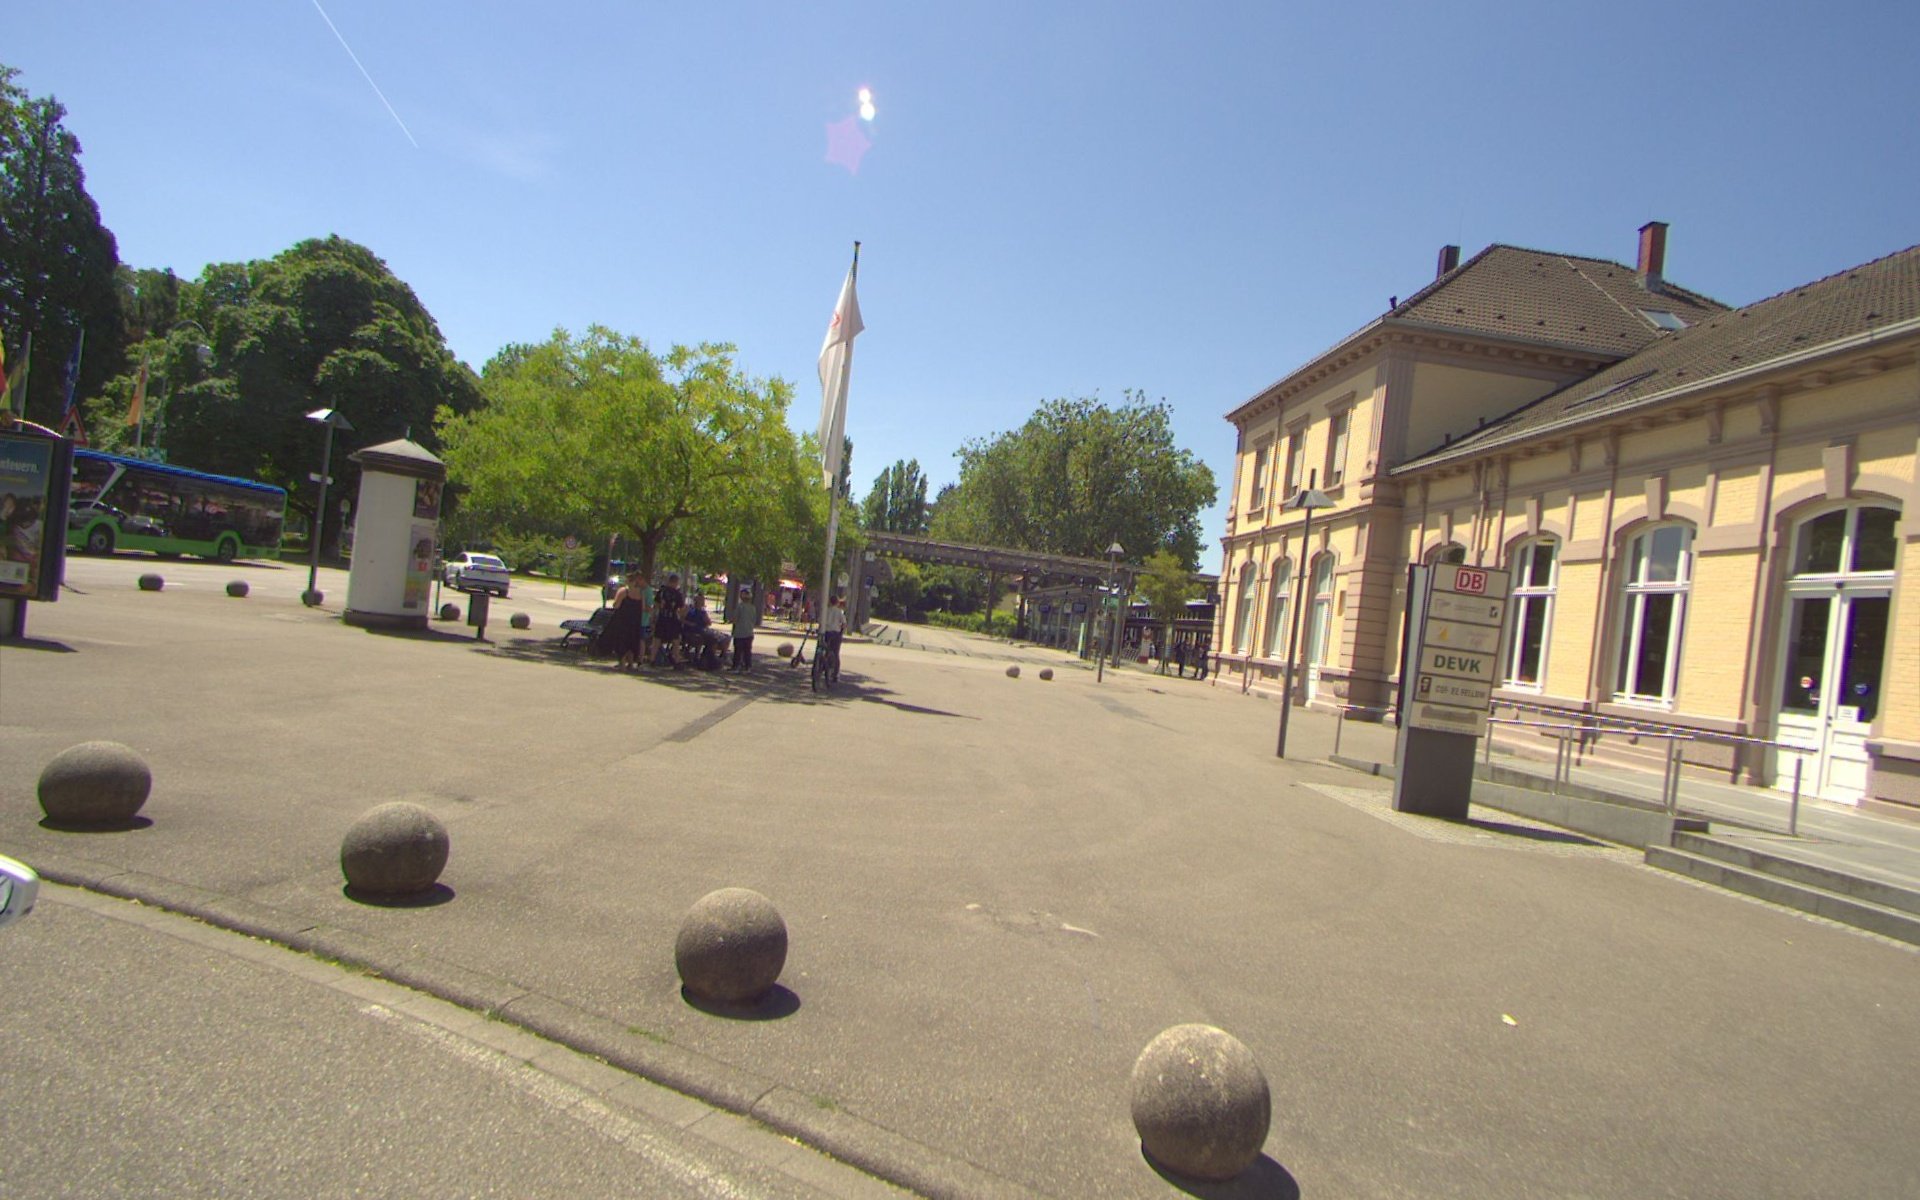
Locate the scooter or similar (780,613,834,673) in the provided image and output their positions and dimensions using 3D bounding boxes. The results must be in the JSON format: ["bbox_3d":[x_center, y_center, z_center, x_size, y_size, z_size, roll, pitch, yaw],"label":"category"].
[{"bbox_3d":[-3.288,0.919,21.593,1.011,1.153,0.294,7,0,-11],"label":"scooter or similar"}]

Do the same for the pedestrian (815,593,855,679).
[{"bbox_3d":[-2.603,0.747,20.896,0.546,1.706,0.585,7,0,-15],"label":"pedestrian"}]

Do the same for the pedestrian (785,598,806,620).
[{"bbox_3d":[-9.633,0.521,58.872,0.887,1.175,0.681,7,0,-38],"label":"pedestrian"}]

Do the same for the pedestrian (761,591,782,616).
[{"bbox_3d":[-11.048,0.208,58.889,0.887,1.328,0.681,7,0,-38],"label":"pedestrian"}]

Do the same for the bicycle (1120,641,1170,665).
[{"bbox_3d":[11.273,3.212,61.304,2.748,1.015,0.811,10,-1,-5],"label":"bicycle"}]

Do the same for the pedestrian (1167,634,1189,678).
[{"bbox_3d":[9.538,2.434,44.055,0.677,1.831,0.631,7,1,18],"label":"pedestrian"}]

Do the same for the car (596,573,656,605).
[{"bbox_3d":[-18.047,-0.549,54.577,1.897,1.478,4.723,4,-1,-4],"label":"car"}]

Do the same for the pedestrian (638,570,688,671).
[{"bbox_3d":[-5.432,0.377,18.394,0.578,1.761,0.595,7,0,-29],"label":"pedestrian"}]

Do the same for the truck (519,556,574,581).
[{"bbox_3d":[-57.025,-4.376,138.628,11.213,2.378,2.273,6,0,43],"label":"truck"}]

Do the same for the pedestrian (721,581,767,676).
[{"bbox_3d":[-4.171,0.548,19.413,0.507,1.761,0.566,6,1,-32],"label":"pedestrian"}]

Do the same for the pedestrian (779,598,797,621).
[{"bbox_3d":[-9.381,0.512,54.858,0.676,1.175,0.895,7,0,1],"label":"pedestrian"}]

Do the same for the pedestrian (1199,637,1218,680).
[{"bbox_3d":[10.872,2.549,43.984,0.541,1.831,0.498,7,1,17],"label":"pedestrian"}]

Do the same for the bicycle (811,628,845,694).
[{"bbox_3d":[-2.395,1.082,18.350,0.414,1.073,1.947,7,-1,-5],"label":"bicycle"}]

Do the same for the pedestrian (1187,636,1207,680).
[{"bbox_3d":[10.267,2.513,43.590,0.620,1.831,0.596,7,1,18],"label":"pedestrian"}]

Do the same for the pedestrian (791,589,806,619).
[{"bbox_3d":[-9.992,0.251,62.306,0.676,1.759,0.707,7,0,-3],"label":"pedestrian"}]

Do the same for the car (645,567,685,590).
[{"bbox_3d":[-36.477,-2.662,124.247,4.809,2.200,2.201,7,0,38],"label":"car"}]

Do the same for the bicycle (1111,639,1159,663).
[{"bbox_3d":[10.901,3.192,62.632,2.748,1.015,0.811,10,-1,-5],"label":"bicycle"}]

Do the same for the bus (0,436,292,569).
[{"bbox_3d":[-28.850,-3.151,35.359,2.767,3.323,12.418,7,-1,-3],"label":"bus"}]

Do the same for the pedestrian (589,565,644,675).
[{"bbox_3d":[-5.791,0.333,16.970,0.620,1.761,0.544,7,0,-29],"label":"pedestrian"}]

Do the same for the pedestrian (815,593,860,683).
[{"bbox_3d":[-2.449,0.749,20.080,0.610,1.706,0.589,7,0,-15],"label":"pedestrian"}]

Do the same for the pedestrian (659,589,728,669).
[{"bbox_3d":[-5.180,0.562,19.531,0.904,1.403,0.936,7,0,-33],"label":"pedestrian"}]

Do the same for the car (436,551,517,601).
[{"bbox_3d":[-20.356,-1.032,42.272,1.973,1.647,4.728,7,0,-38],"label":"car"}]

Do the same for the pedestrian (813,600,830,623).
[{"bbox_3d":[-8.081,0.678,58.673,0.748,1.219,0.737,9,-1,-3],"label":"pedestrian"}]
